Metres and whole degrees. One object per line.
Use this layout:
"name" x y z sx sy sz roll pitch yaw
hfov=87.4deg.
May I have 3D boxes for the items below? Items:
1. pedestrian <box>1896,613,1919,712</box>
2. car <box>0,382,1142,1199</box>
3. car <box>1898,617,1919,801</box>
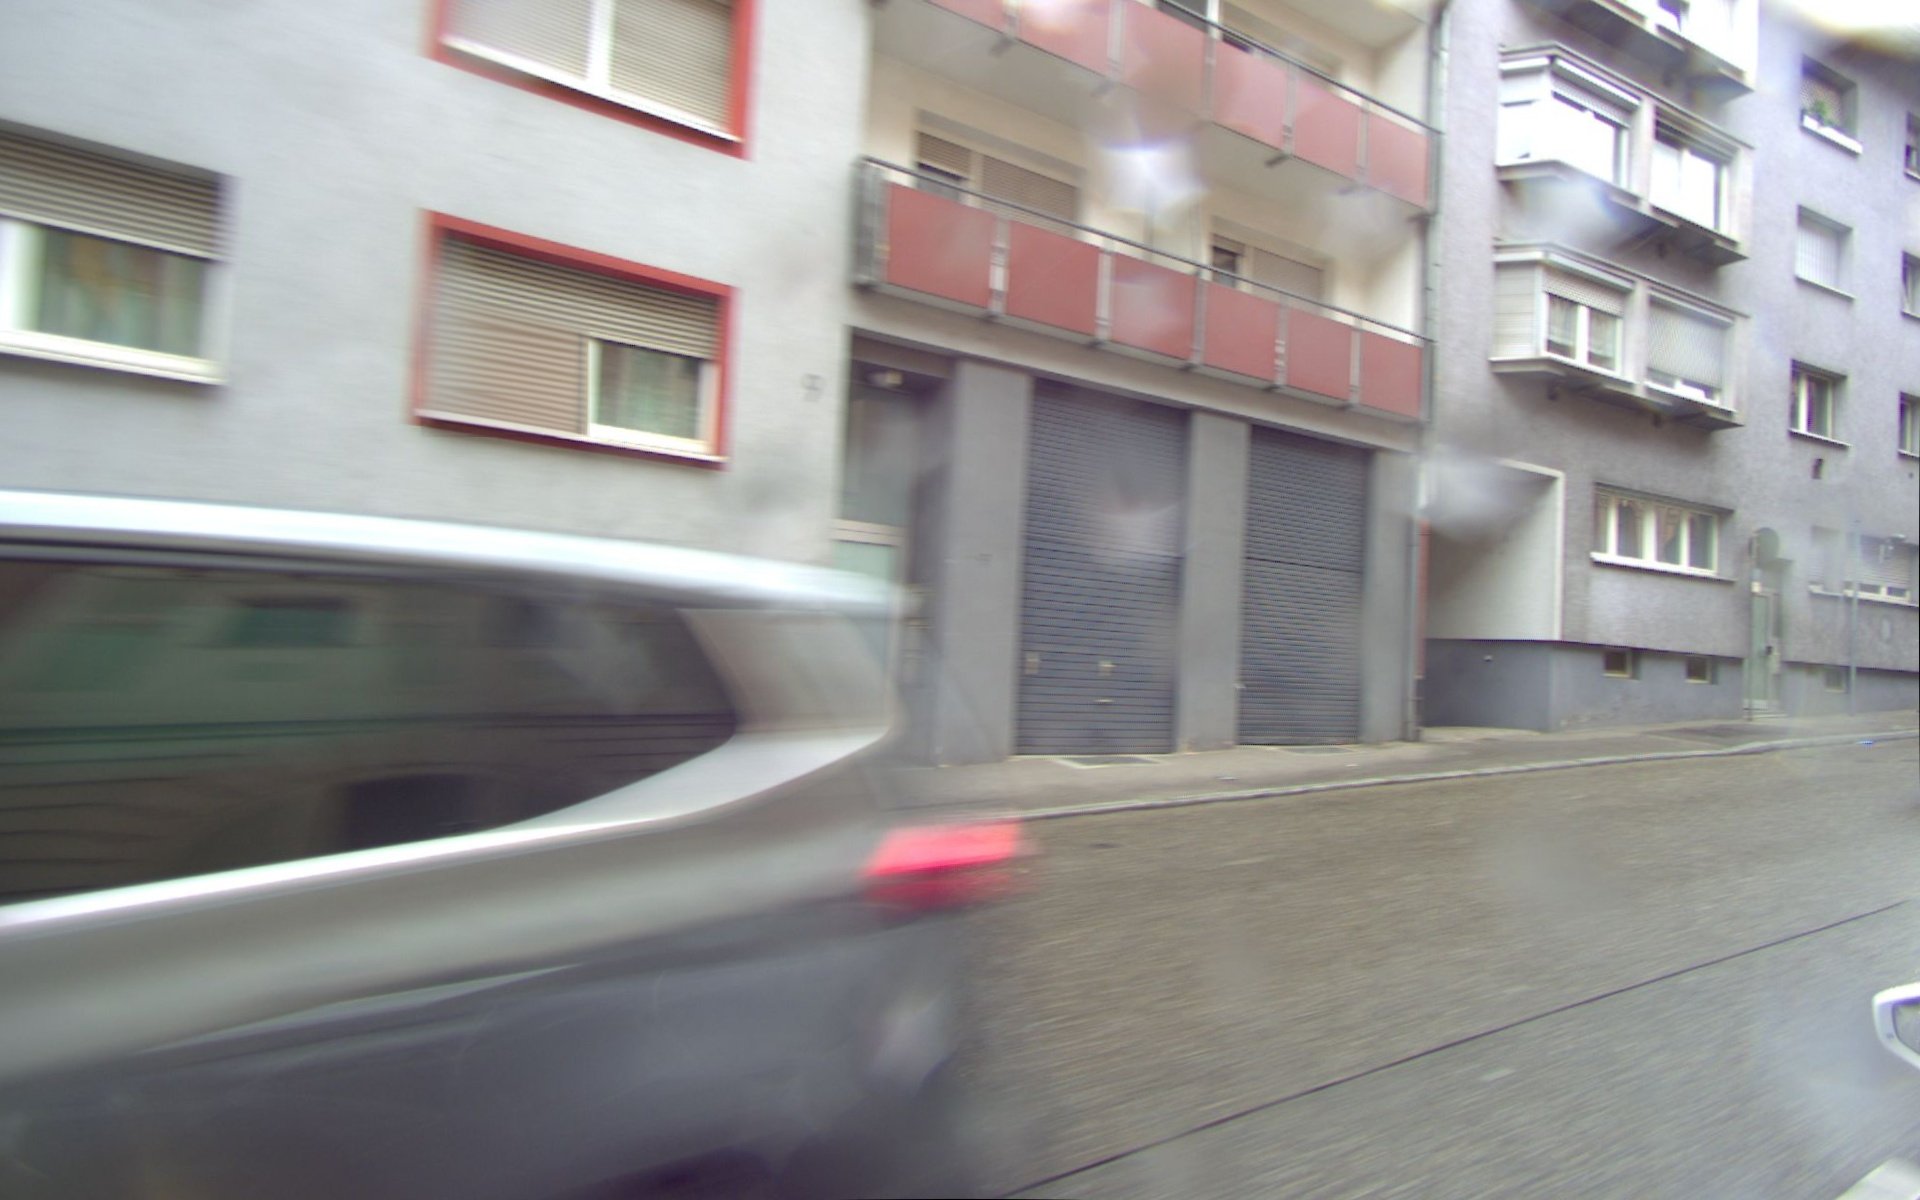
"pedestrian" 17.821 1.147 18.577 0.614 1.799 0.521 0 -2 -26
"car" -1.799 0.629 1.541 3.942 1.679 1.756 2 -2 -31
"car" 10.340 0.970 8.929 3.716 1.597 1.758 2 -2 -27
